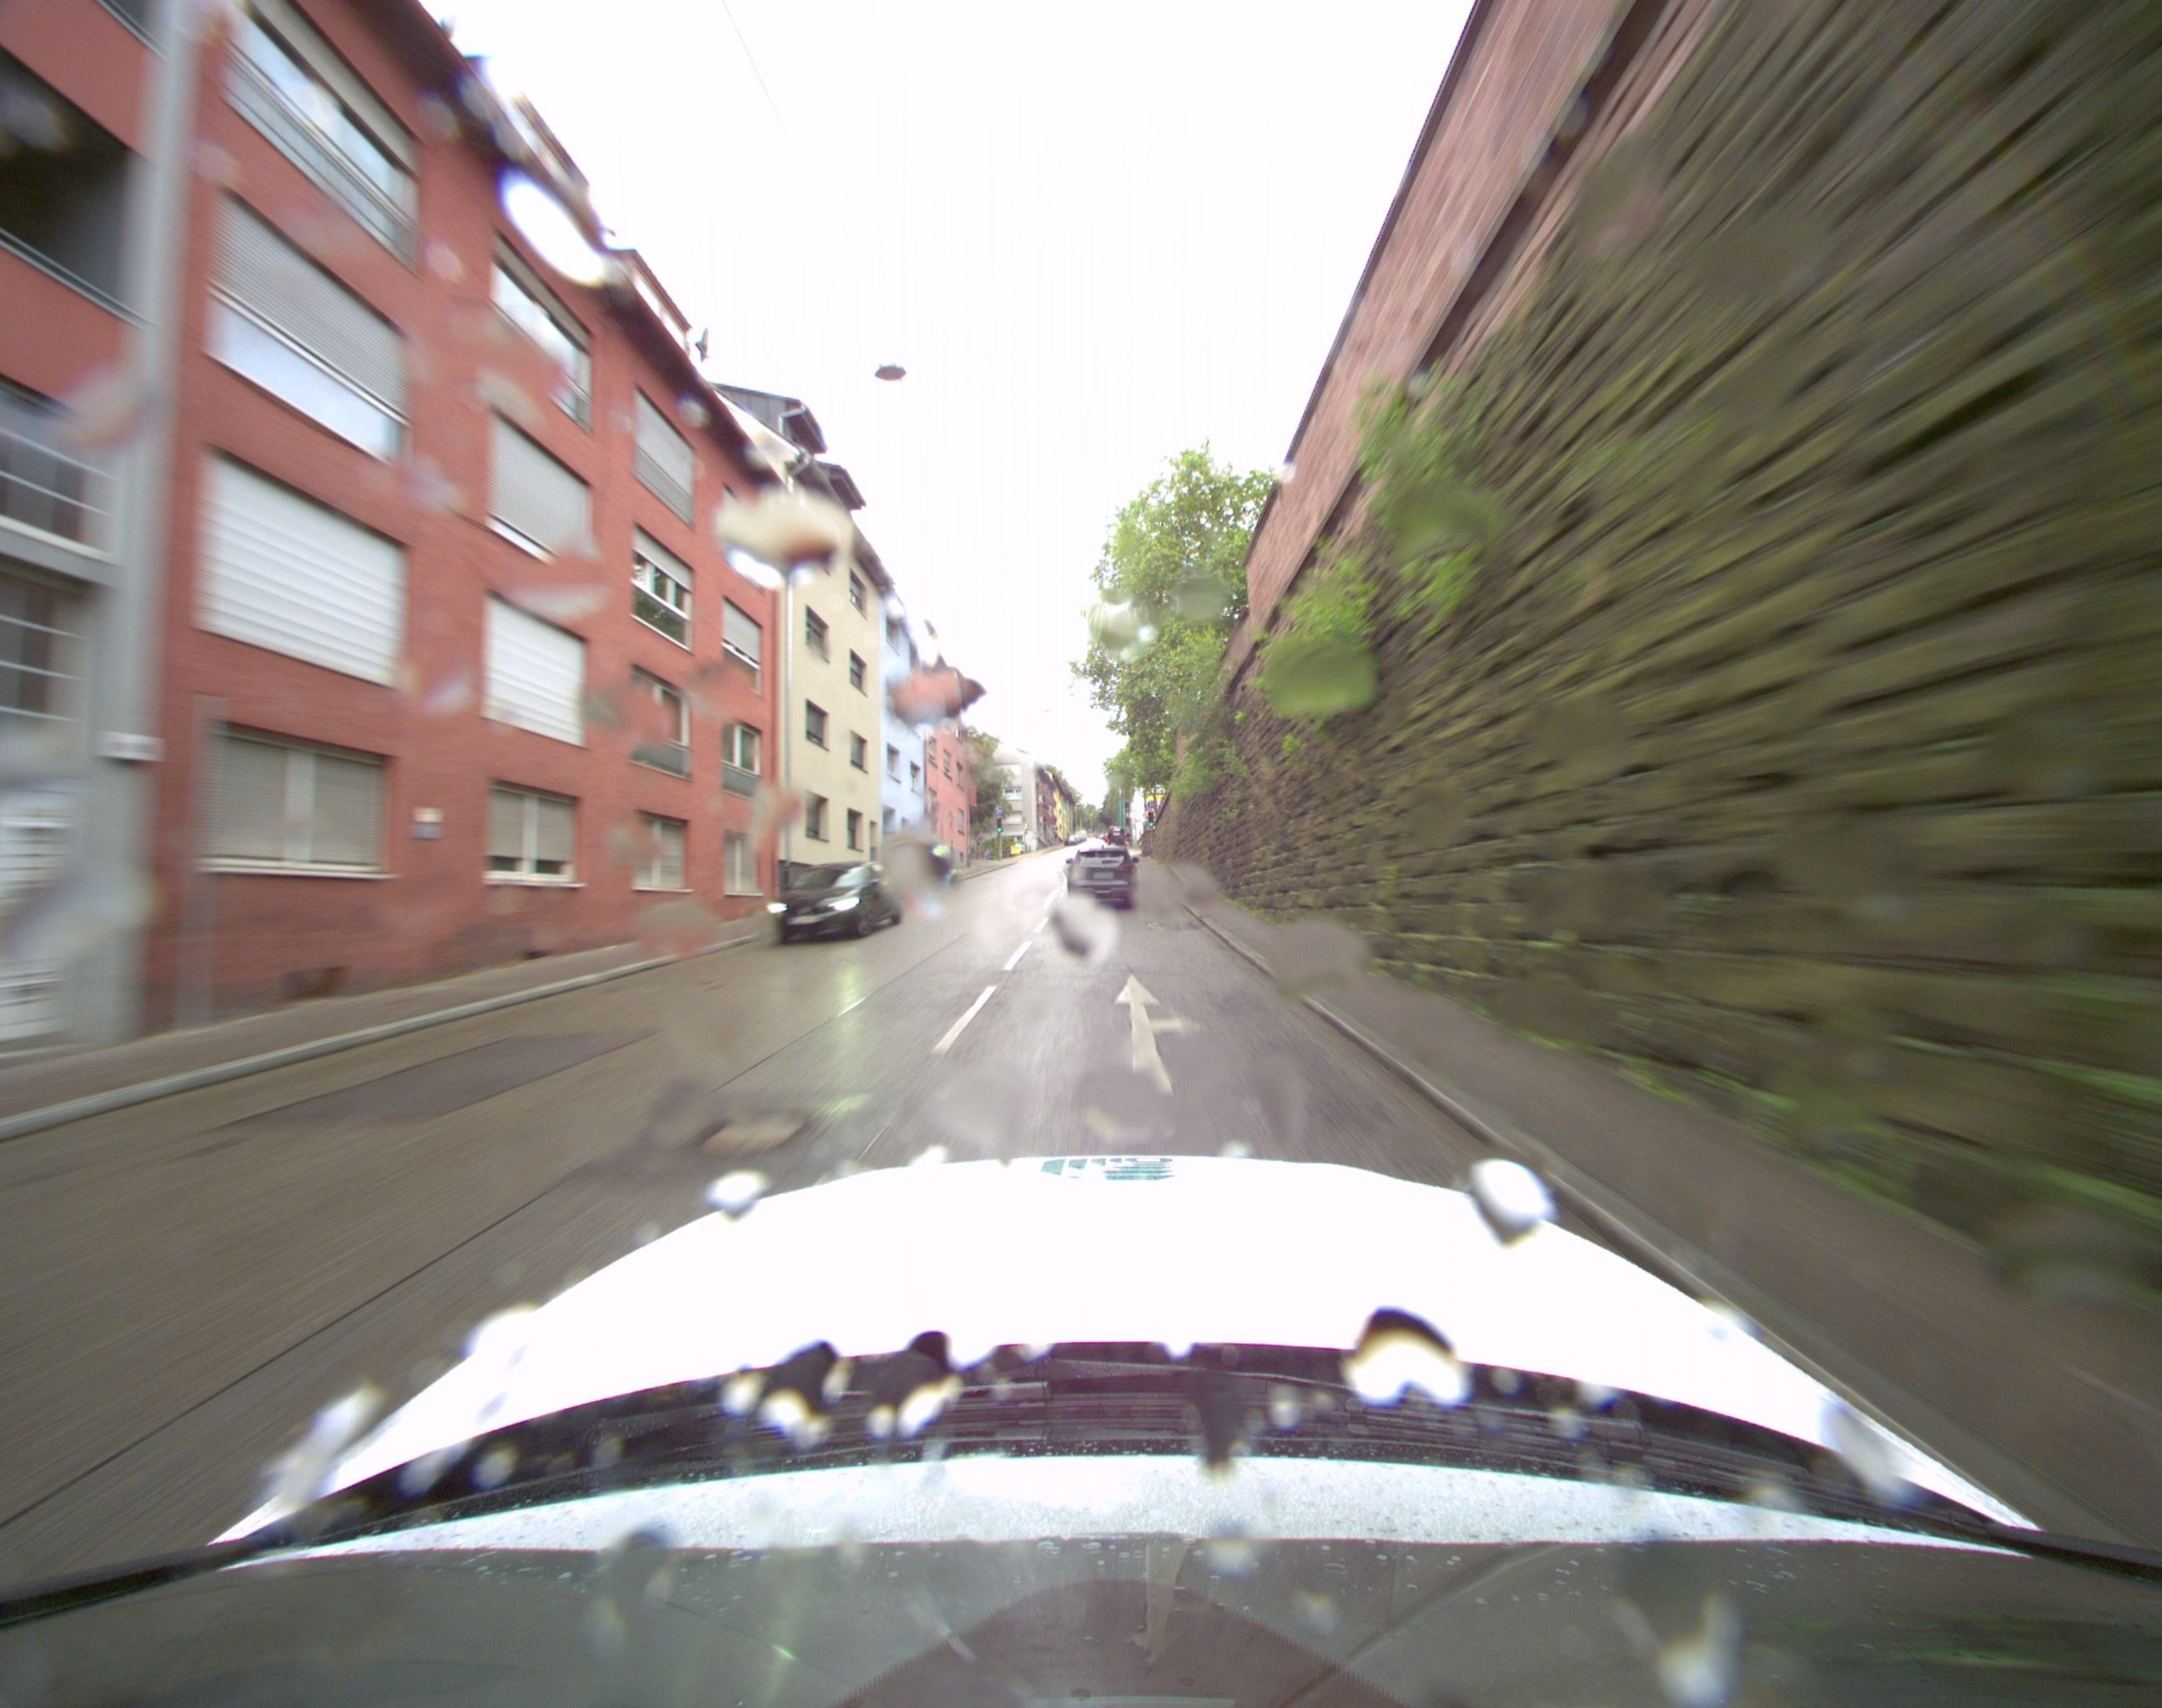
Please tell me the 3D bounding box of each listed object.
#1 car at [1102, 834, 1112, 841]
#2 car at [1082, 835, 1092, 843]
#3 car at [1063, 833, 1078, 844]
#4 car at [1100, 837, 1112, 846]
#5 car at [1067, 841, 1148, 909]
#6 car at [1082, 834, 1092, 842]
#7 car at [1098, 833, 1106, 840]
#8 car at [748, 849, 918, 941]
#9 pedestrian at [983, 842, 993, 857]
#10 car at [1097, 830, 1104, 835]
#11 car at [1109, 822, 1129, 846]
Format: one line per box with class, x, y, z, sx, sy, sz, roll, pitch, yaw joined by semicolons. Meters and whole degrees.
car;6.052;-3.925;189.959;2.067;1.559;4.001;-1;2;1
car;1.323;-3.343;177.530;1.983;1.585;4.305;-2;0;1
car;-1.742;-2.609;136.991;1.985;1.650;4.446;-2;-1;4
car;4.713;-2.349;154.989;2.068;1.559;4.001;-1;2;0
car;0.716;0.494;22.025;1.986;1.559;4.003;0;2;2
car;1.366;-3.580;184.002;1.983;1.755;4.481;-2;1;1
car;5.721;-4.733;219.827;2.067;1.559;4.001;-1;2;1
car;-4.786;0.724;16.388;1.986;1.478;4.001;-4;0;2
pedestrian;-9.490;-0.461;82.878;0.867;1.541;1.087;0;-1;-2
car;5.969;-6.504;247.515;2.067;1.559;4.001;-1;2;1
car;4.176;-2.129;89.566;1.984;2.414;5.843;0;-1;4
